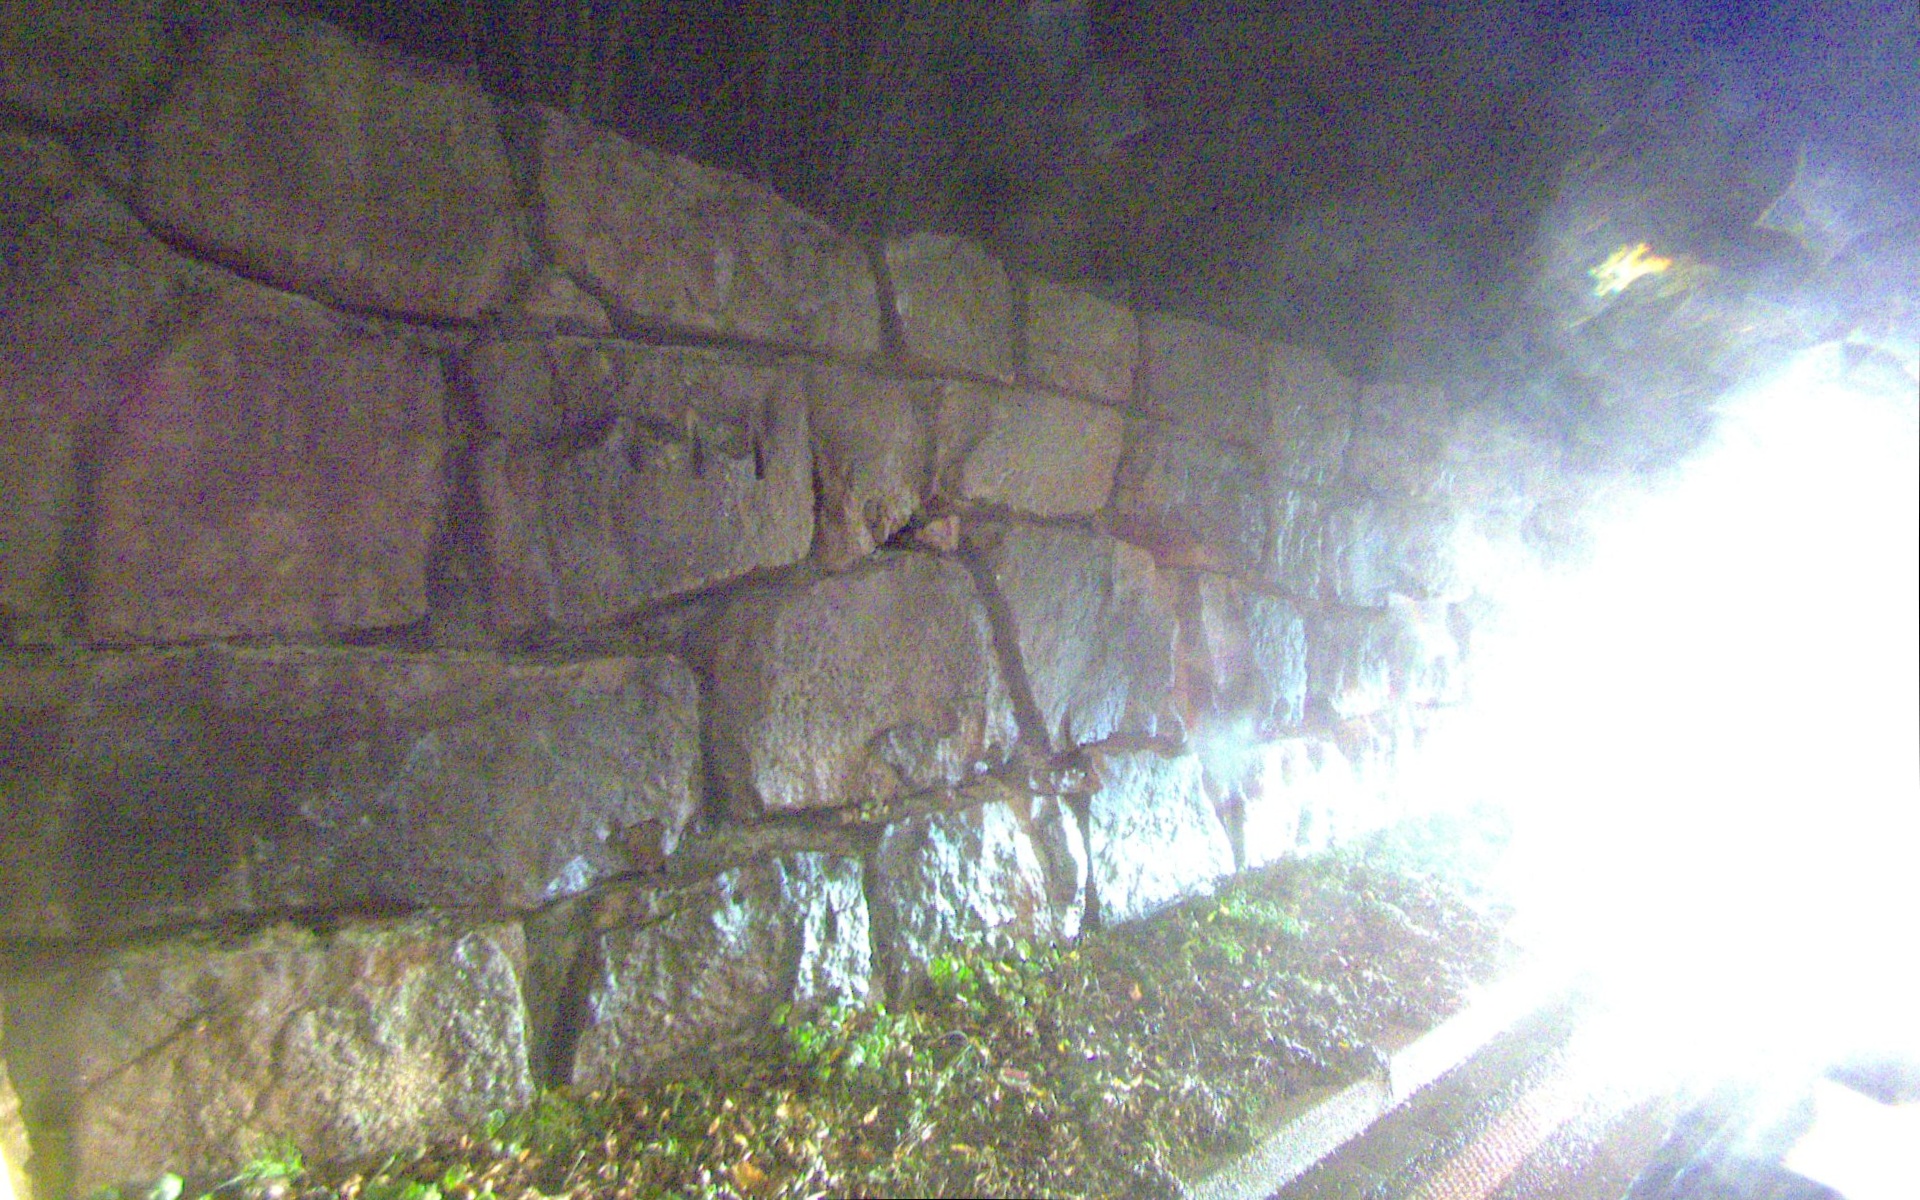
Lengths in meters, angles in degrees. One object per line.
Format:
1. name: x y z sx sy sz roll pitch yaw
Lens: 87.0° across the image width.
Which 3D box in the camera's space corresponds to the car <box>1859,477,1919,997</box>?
1. car: 5.529 0.498 4.274 4.128 1.858 1.877 0 1 -38
